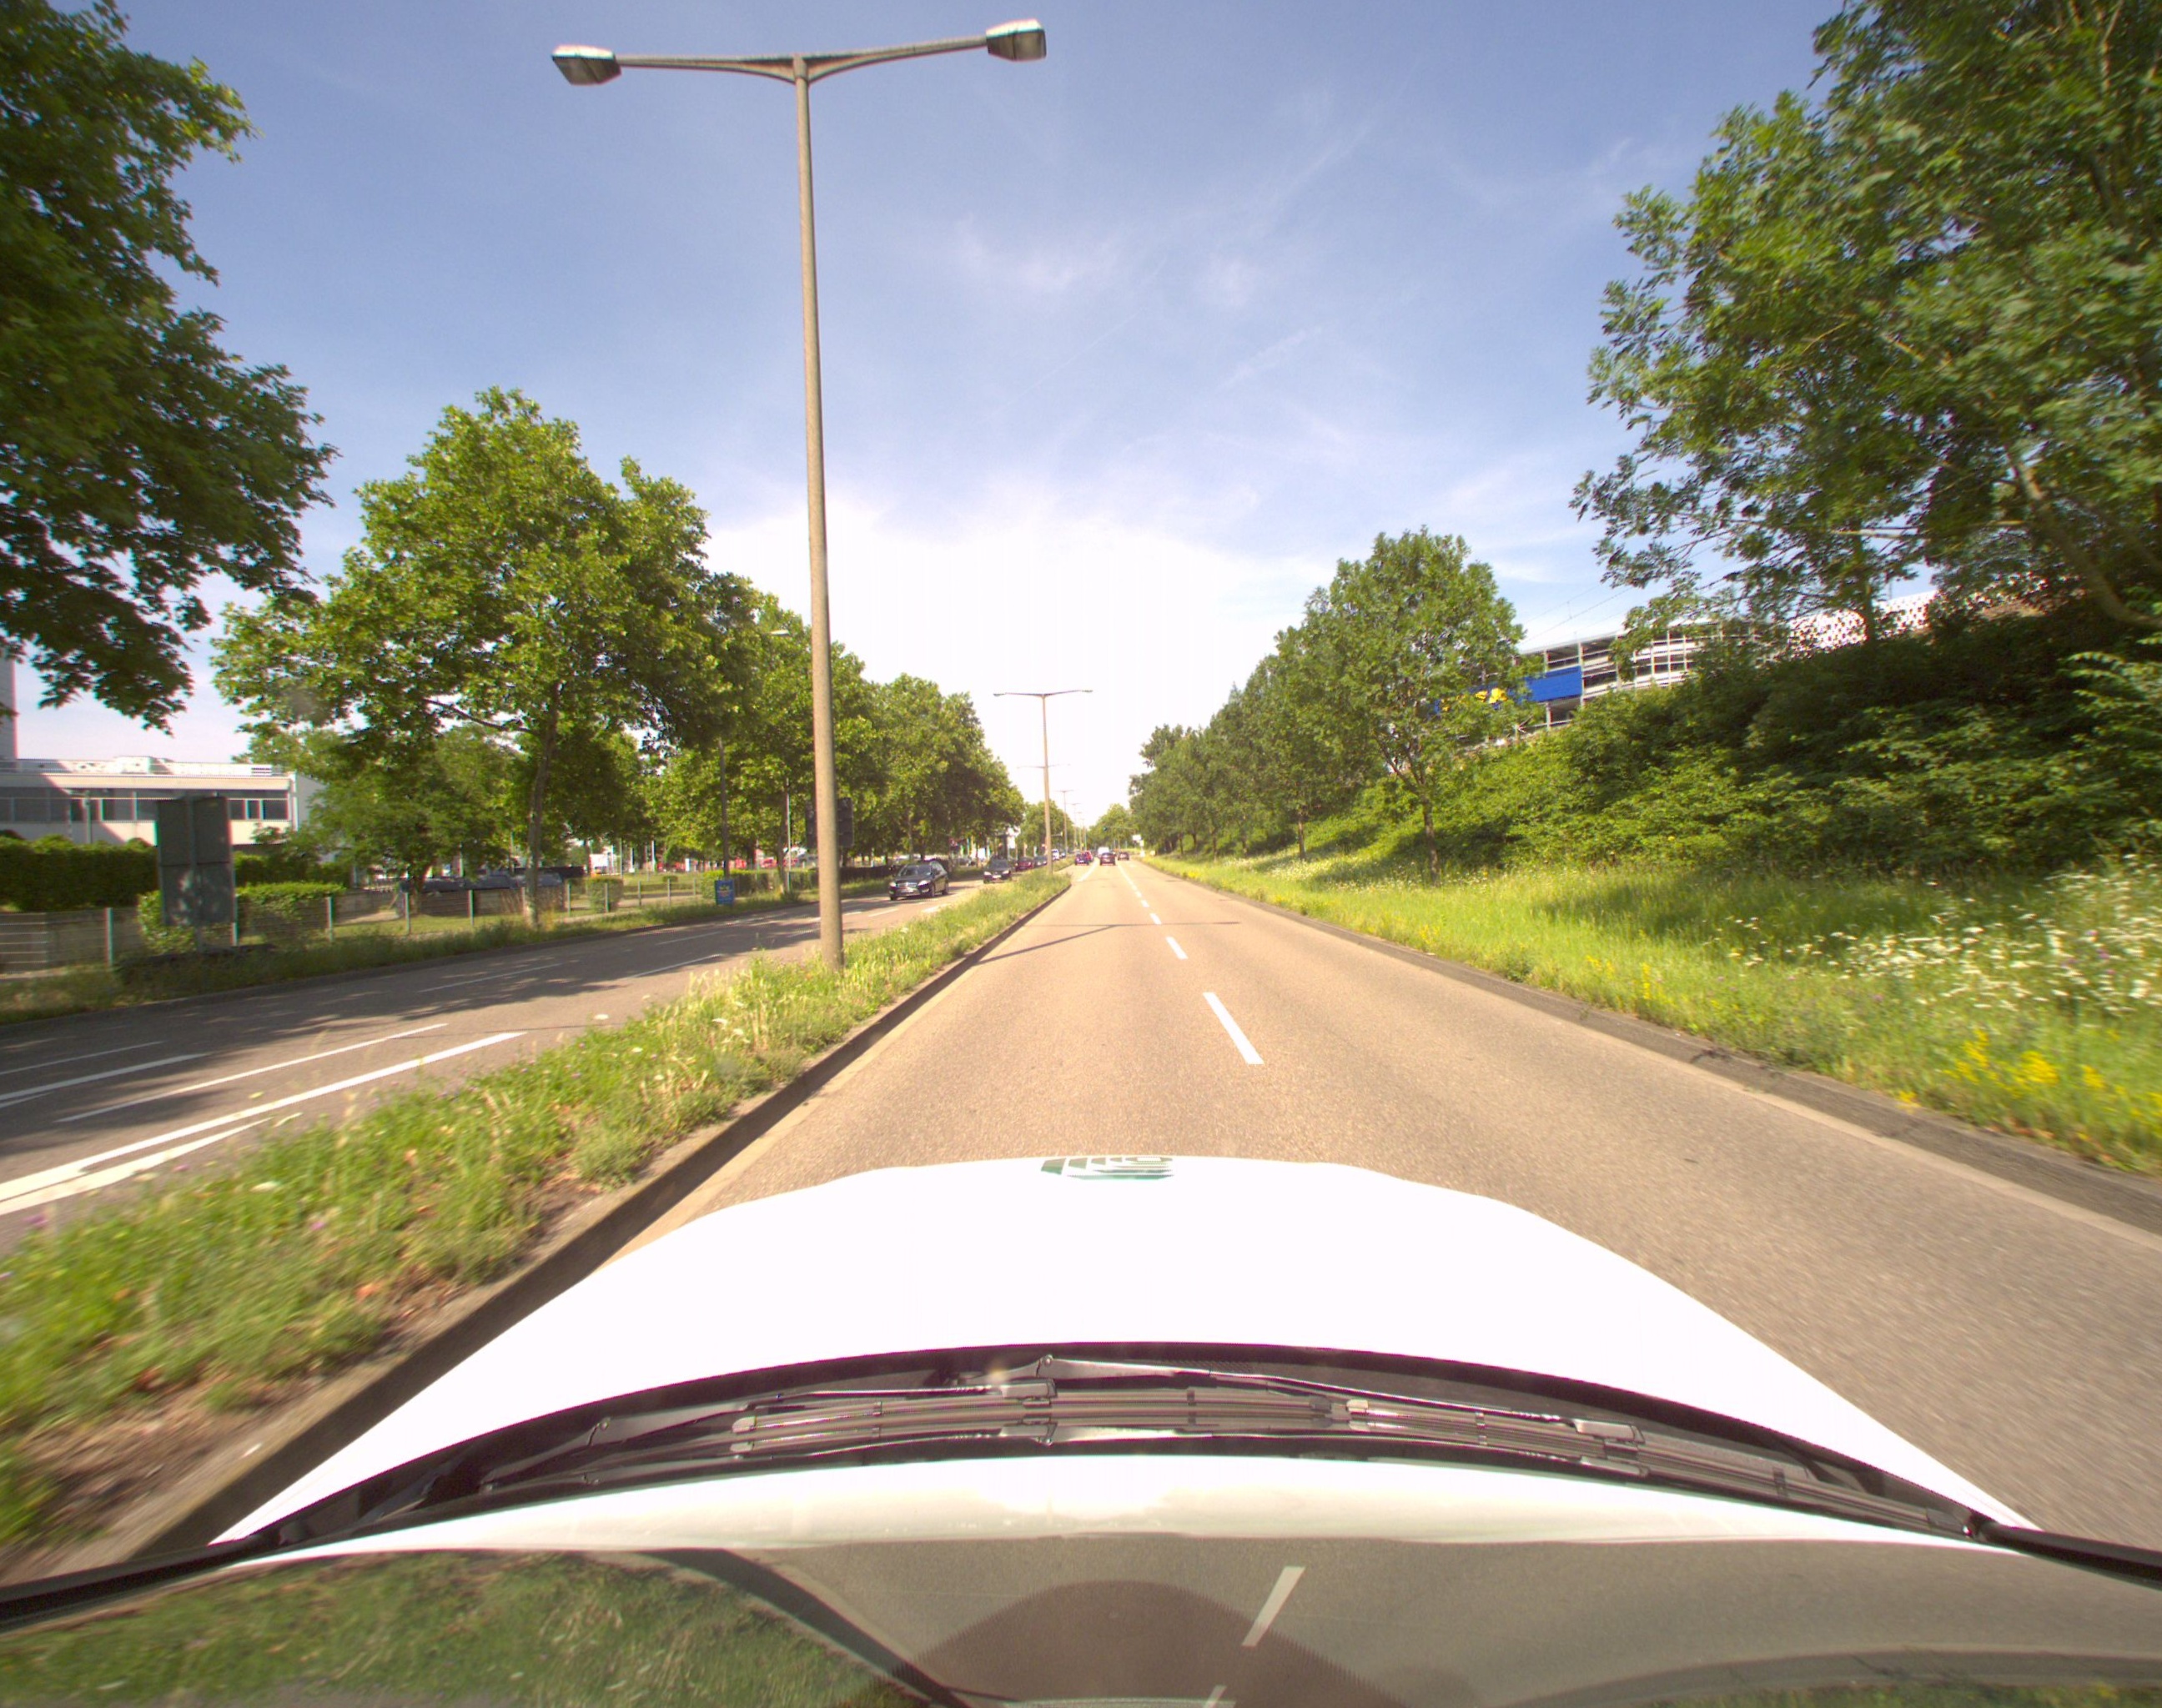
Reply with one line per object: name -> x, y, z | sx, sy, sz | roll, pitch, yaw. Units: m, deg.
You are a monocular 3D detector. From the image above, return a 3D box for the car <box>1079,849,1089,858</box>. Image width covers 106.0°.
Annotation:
car -> 0.681, -0.100, 184.431 | 1.985, 1.860, 4.003 | -2, 0, 3

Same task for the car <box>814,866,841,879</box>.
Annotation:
car -> -34.917, 2.572, 112.110 | 2.010, 1.665, 4.789 | -3, 0, -37

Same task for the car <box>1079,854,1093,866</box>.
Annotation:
car -> 0.740, 0.886, 116.837 | 1.776, 1.593, 4.595 | -1, 0, 1

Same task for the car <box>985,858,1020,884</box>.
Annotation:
car -> -5.003, 1.055, 52.179 | 1.767, 1.467, 4.669 | -3, 0, -1

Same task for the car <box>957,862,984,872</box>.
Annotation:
car -> -17.801, 2.054, 130.889 | 3.949, 1.388, 1.776 | -2, 1, 28

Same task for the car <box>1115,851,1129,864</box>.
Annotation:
car -> 6.628, 0.616, 131.983 | 2.010, 1.837, 4.003 | -2, 2, 2

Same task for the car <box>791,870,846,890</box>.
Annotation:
car -> -22.066, 2.180, 68.558 | 3.971, 1.464, 1.773 | -3, 0, 2

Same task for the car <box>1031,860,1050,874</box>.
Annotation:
car -> -4.837, 1.550, 97.108 | 1.833, 1.478, 4.167 | -3, 0, 1

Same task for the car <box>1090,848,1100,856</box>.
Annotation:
car -> 2.963, -0.339, 174.696 | 1.927, 1.647, 4.002 | -2, 0, 2

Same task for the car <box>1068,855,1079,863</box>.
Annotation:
car -> -1.747, 1.213, 191.637 | 1.984, 1.775, 4.005 | -3, 0, 4

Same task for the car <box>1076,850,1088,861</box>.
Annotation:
car -> 0.246, 0.275, 146.302 | 1.986, 1.708, 4.265 | -2, 0, 2

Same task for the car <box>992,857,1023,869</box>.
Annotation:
car -> -11.424, 1.392, 126.504 | 4.343, 1.750, 1.881 | -3, 0, 31

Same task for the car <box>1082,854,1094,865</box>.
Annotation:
car -> 1.126, 0.831, 124.111 | 1.760, 1.479, 4.137 | -1, 0, 1

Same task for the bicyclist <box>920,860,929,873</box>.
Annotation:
bicyclist -> -17.609, 1.399, 91.749 | 0.679, 1.485, 0.942 | -3, 0, 2

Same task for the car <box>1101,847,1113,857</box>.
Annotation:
car -> 4.751, -0.300, 149.428 | 1.986, 1.708, 4.265 | -2, 0, 2

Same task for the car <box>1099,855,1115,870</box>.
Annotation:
car -> 3.106, 1.016, 97.183 | 1.730, 1.535, 4.003 | -2, 2, 2

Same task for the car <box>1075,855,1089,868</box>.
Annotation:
car -> 0.149, 0.912, 99.689 | 1.620, 1.483, 4.049 | 0, 0, 1

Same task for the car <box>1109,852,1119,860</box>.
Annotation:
car -> 7.074, 0.392, 173.506 | 1.986, 1.708, 4.265 | -2, 0, 2

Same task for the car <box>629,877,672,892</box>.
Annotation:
car -> -46.388, 3.294, 87.762 | 3.955, 1.504, 1.814 | -1, 2, 17

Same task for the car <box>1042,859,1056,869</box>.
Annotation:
car -> -4.868, 1.536, 124.667 | 1.762, 1.469, 4.284 | -3, 0, 1

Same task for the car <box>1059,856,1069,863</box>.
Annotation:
car -> -3.808, 1.268, 183.561 | 1.986, 1.530, 4.684 | -3, 0, 2

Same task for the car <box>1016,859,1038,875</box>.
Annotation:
car -> -5.485, 1.318, 82.991 | 1.756, 1.462, 4.003 | -4, 0, 2

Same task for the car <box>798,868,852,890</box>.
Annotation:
car -> -22.506, 2.196, 71.777 | 3.967, 1.823, 2.159 | -2, -1, 5

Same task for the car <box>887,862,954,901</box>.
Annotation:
car -> -6.870, 1.130, 35.388 | 1.821, 1.467, 4.988 | -3, 0, 0
